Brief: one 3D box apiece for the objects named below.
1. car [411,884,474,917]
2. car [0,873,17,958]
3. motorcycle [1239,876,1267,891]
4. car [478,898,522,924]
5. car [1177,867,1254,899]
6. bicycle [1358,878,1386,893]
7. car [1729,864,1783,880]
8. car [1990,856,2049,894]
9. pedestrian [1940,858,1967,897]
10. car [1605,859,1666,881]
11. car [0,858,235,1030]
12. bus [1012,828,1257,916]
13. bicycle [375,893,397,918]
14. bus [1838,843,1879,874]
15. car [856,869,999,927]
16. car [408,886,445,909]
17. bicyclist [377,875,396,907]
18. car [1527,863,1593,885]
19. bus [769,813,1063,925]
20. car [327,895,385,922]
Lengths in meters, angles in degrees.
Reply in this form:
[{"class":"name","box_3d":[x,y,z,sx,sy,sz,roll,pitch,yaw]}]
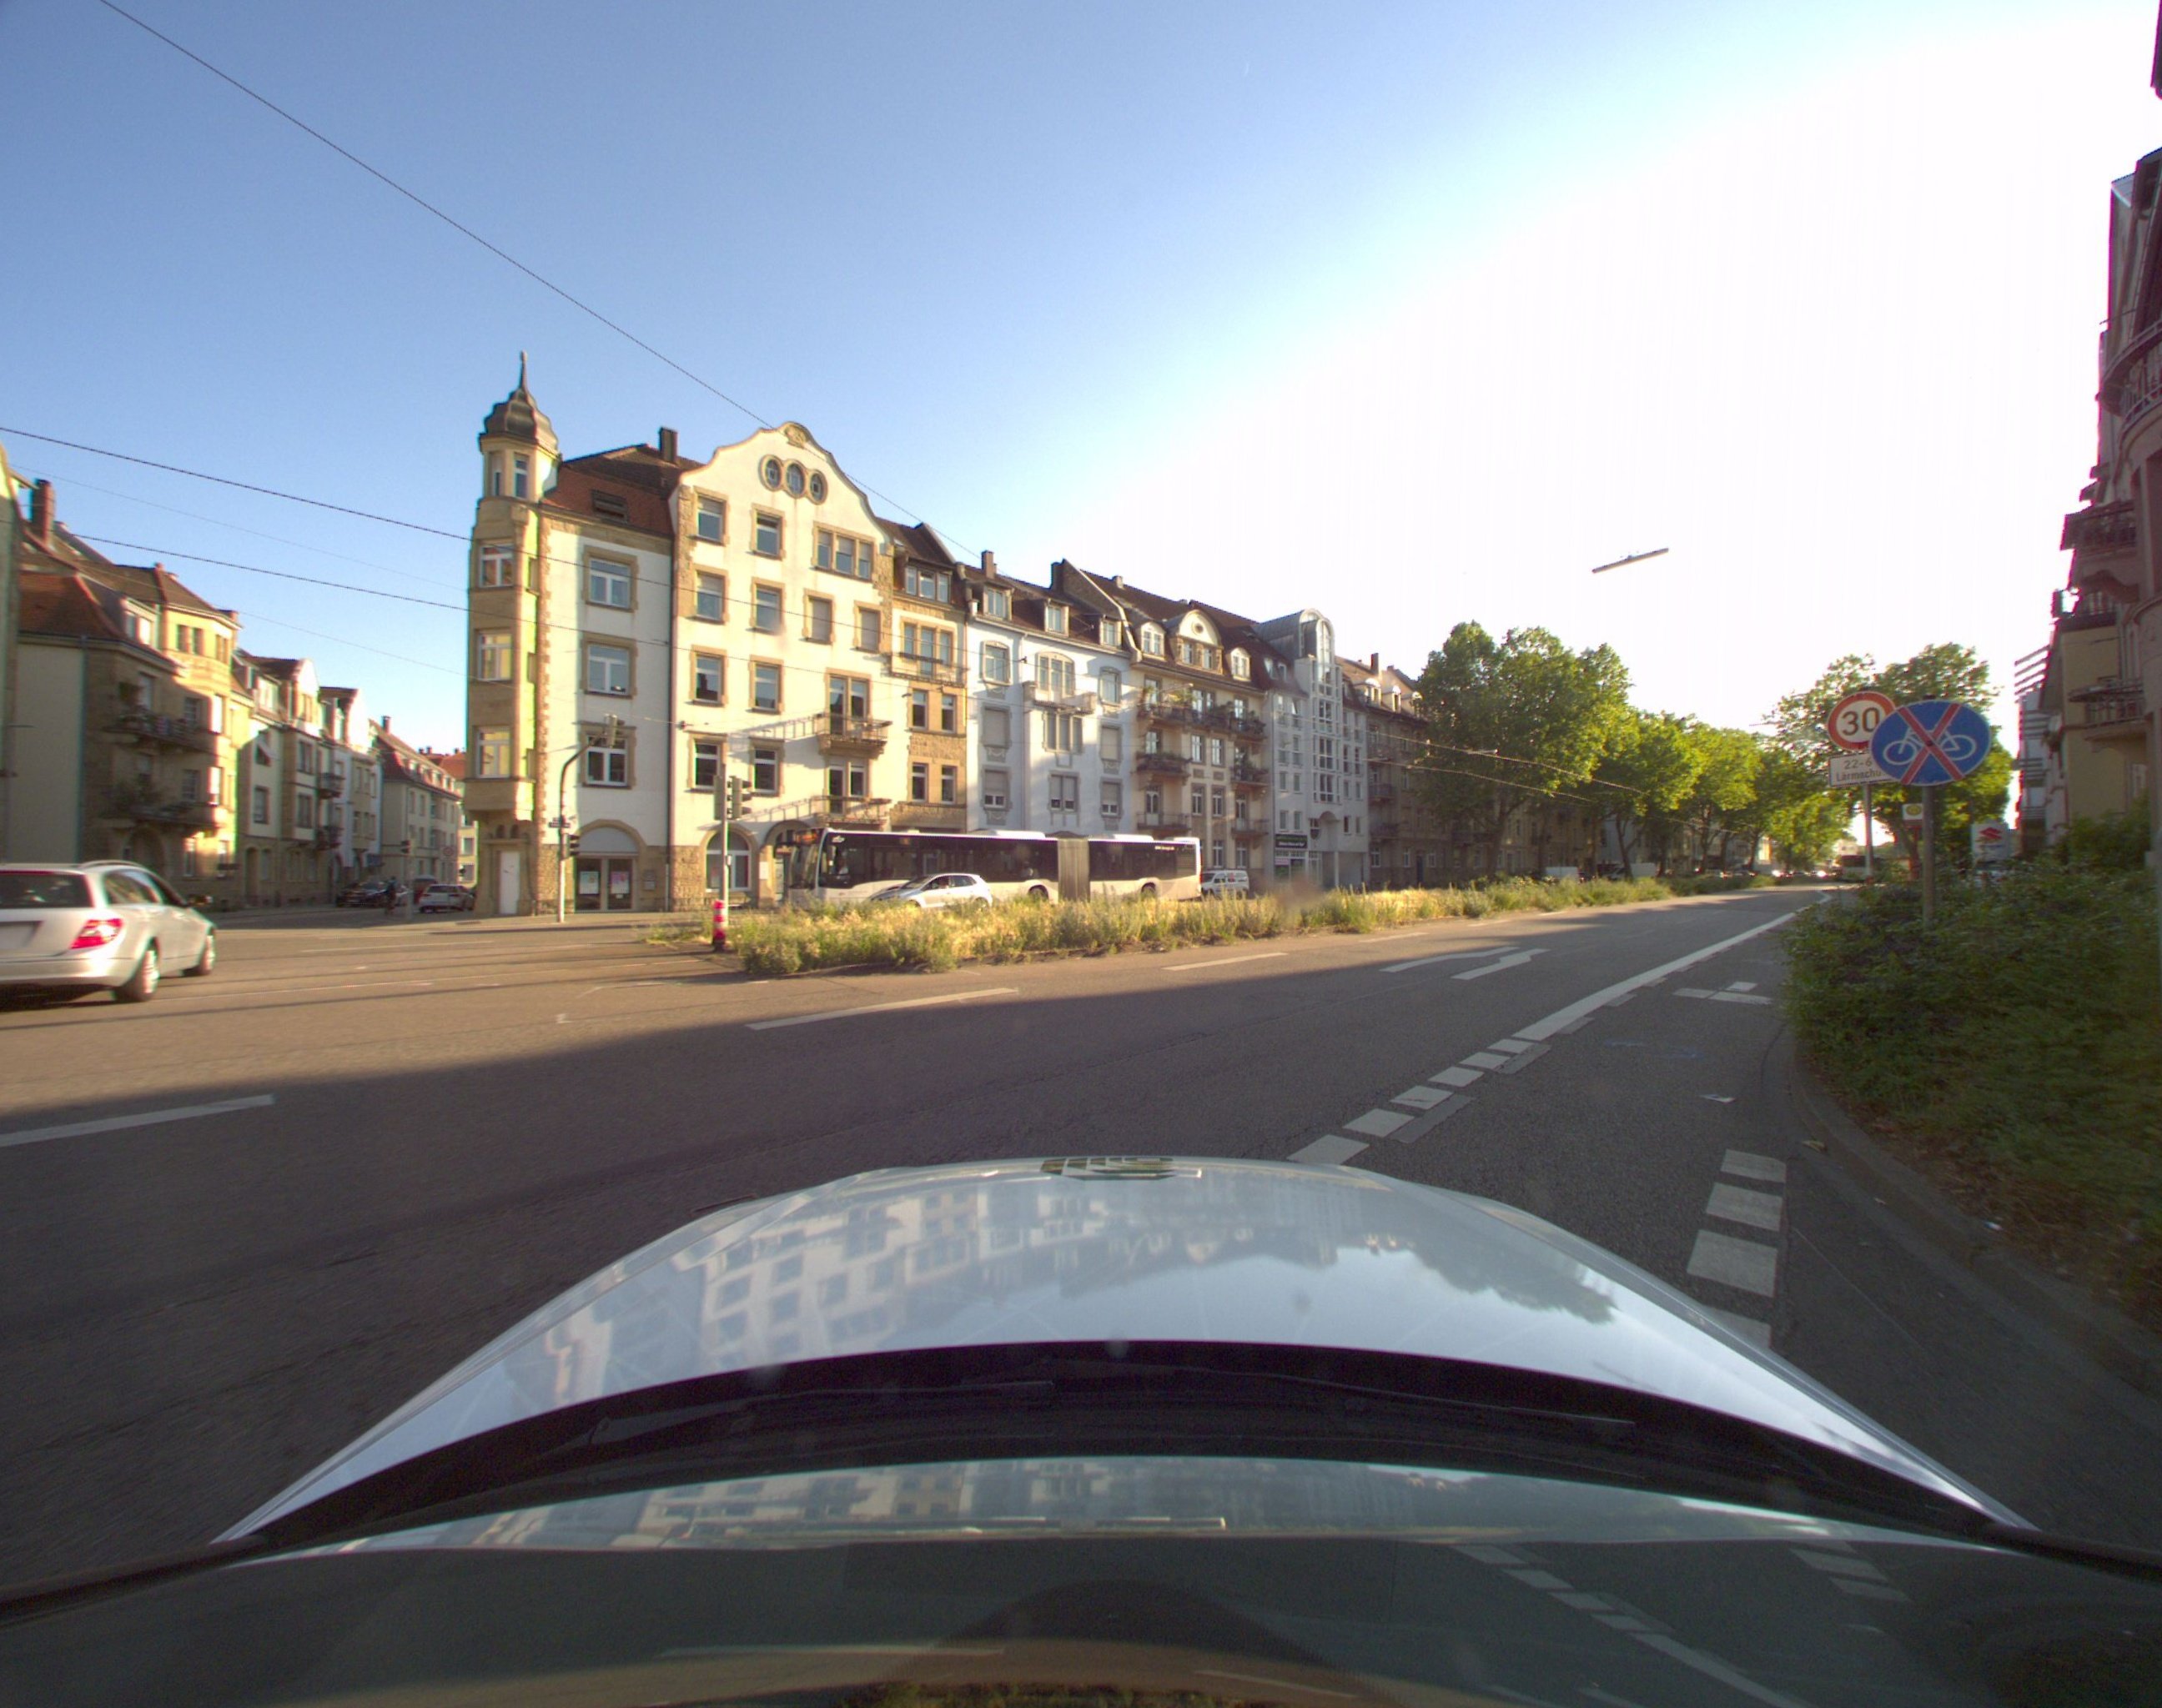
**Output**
[{"class":"car","box_3d":[-32.863,2.346,42.022,1.840,1.616,3.963,1,-2,-28]},{"class":"car","box_3d":[-23.849,1.253,16.971,3.948,1.706,1.847,-1,-3,35]},{"class":"motorcycle","box_3d":[11.852,2.036,56.167,2.433,1.021,0.523,1,0,-42]},{"class":"car","box_3d":[-40.277,3.918,56.569,1.839,1.706,3.965,1,-2,-26]},{"class":"car","box_3d":[7.940,1.715,47.836,4.676,1.787,1.888,2,-3,-40]},{"class":"bicycle","box_3d":[21.460,2.315,60.044,1.899,1.032,0.753,1,3,-28]},{"class":"car","box_3d":[118.746,3.167,143.379,6.872,2.678,2.198,-1,-2,28]},{"class":"car","box_3d":[51.220,1.168,44.433,4.924,1.949,1.877,2,-3,-39]},{"class":"pedestrian","box_3d":[41.366,1.133,38.625,1.156,1.813,0.821,2,-3,-43]},{"class":"car","box_3d":[64.429,1.840,94.658,5.461,2.529,2.130,-1,-2,6]},{"class":"car","box_3d":[-10.658,0.801,8.716,1.746,1.477,4.123,2,-1,-40]},{"class":"bus","box_3d":[2.777,0.858,36.176,12.038,3.375,3.226,2,-3,-41]},{"class":"bicycle","box_3d":[-32.710,2.394,38.327,0.624,1.105,2.523,2,-3,-37]},{"class":"bus","box_3d":[85.241,0.552,89.193,8.228,3.236,2.807,2,-3,-44]},{"class":"car","box_3d":[-4.792,1.361,25.705,4.019,1.684,1.914,2,-3,-38]},{"class":"car","box_3d":[-52.807,3.507,65.793,1.842,1.746,3.959,1,-2,-33]},{"class":"bicyclist","box_3d":[-32.609,1.746,38.234,0.615,1.494,0.759,2,-3,-38]},{"class":"car","box_3d":[45.578,1.884,77.567,5.202,2.066,1.725,-1,-2,6]},{"class":"bus","box_3d":[-5.501,0.600,28.981,9.950,3.375,3.237,2,-3,-41]},{"class":"car","box_3d":[-46.430,3.479,52.261,1.840,1.616,3.963,1,-2,-28]}]
